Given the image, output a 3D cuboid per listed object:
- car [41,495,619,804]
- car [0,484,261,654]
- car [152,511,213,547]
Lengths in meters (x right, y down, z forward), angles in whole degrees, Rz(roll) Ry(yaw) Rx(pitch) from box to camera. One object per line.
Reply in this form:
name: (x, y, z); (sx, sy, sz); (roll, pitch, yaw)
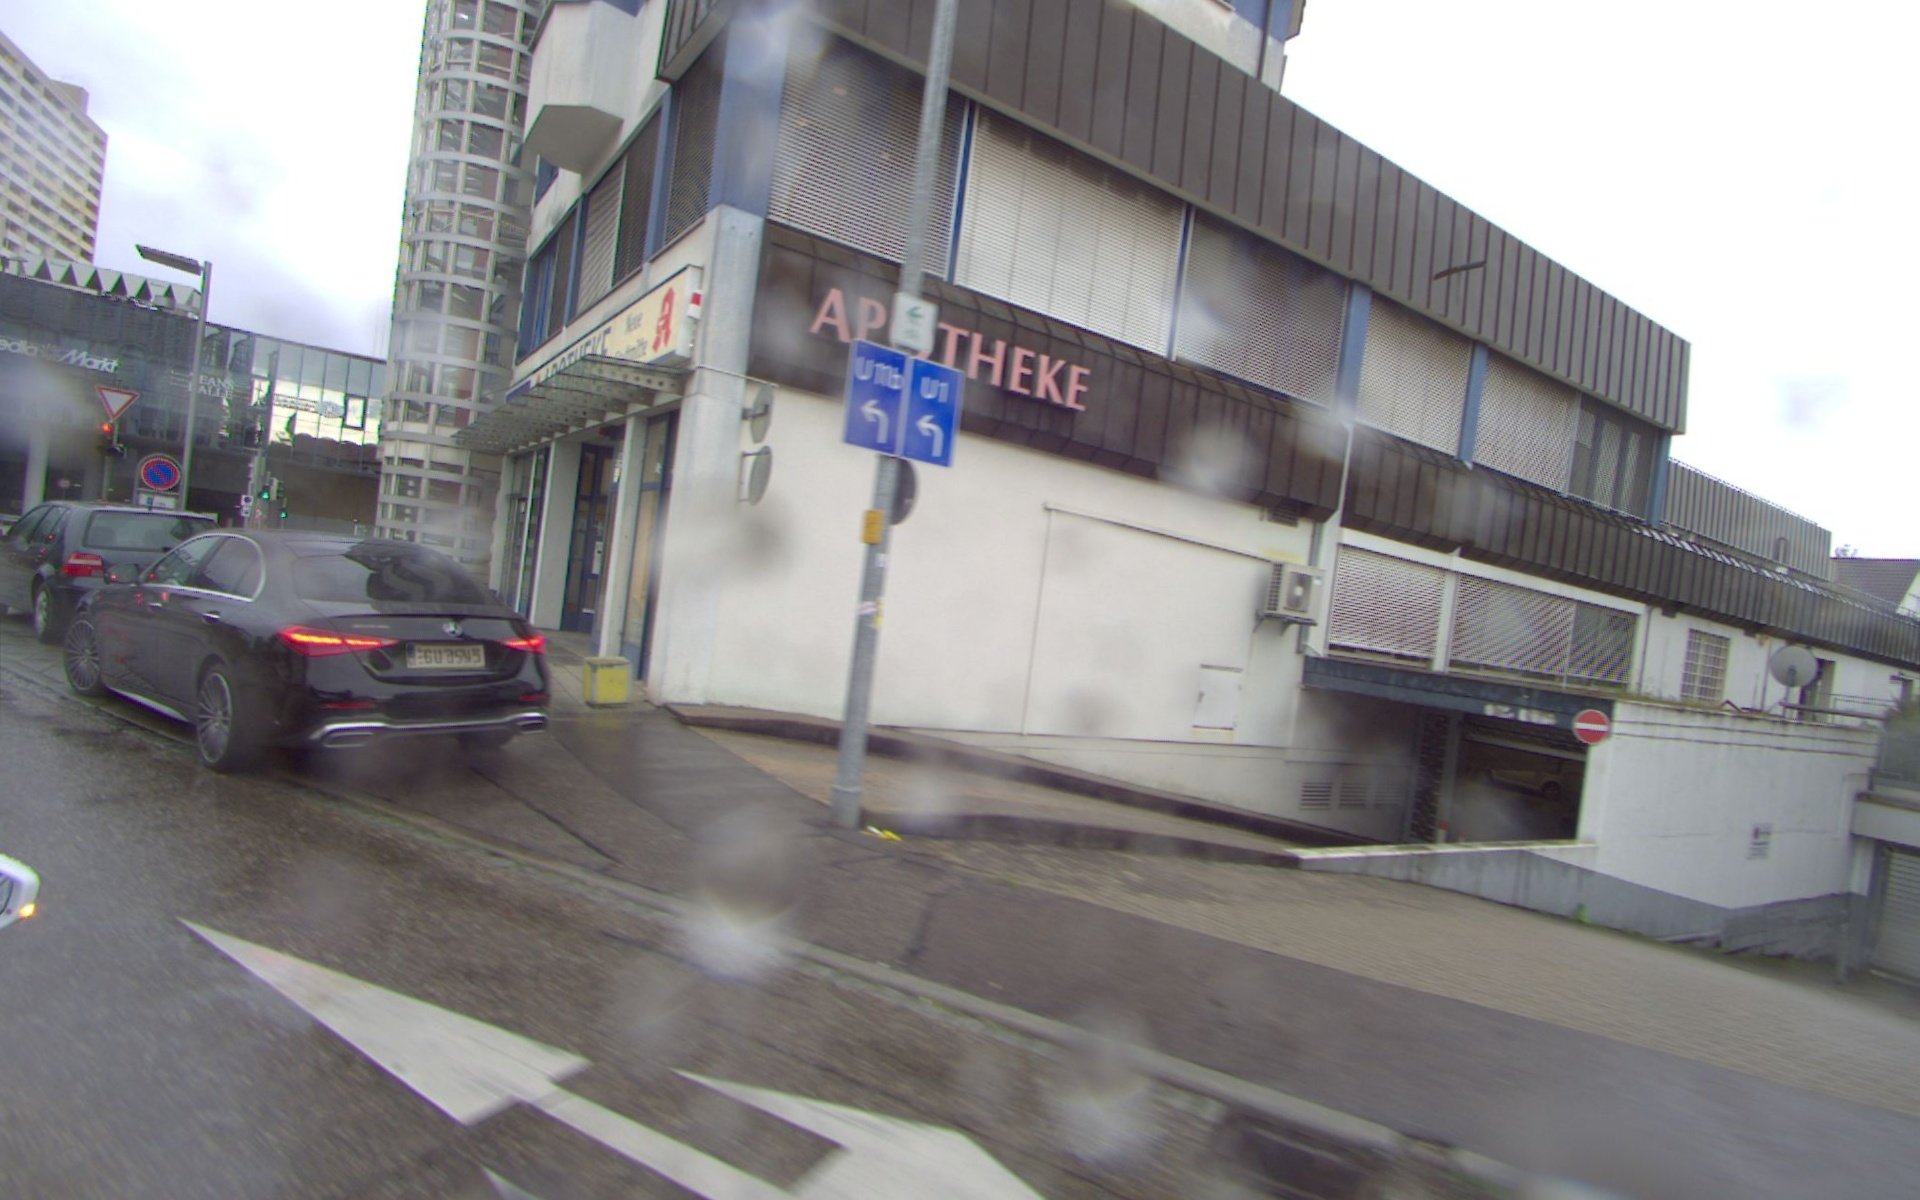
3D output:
car: (-4.807, 0.211, 7.411); (4.577, 1.551, 1.994); (6, -2, 37)
car: (-9.672, -0.418, 11.364); (3.938, 1.506, 1.696); (8, 3, 36)
car: (-45.049, -4.092, 58.372); (1.977, 1.738, 3.971); (7, 0, -28)
